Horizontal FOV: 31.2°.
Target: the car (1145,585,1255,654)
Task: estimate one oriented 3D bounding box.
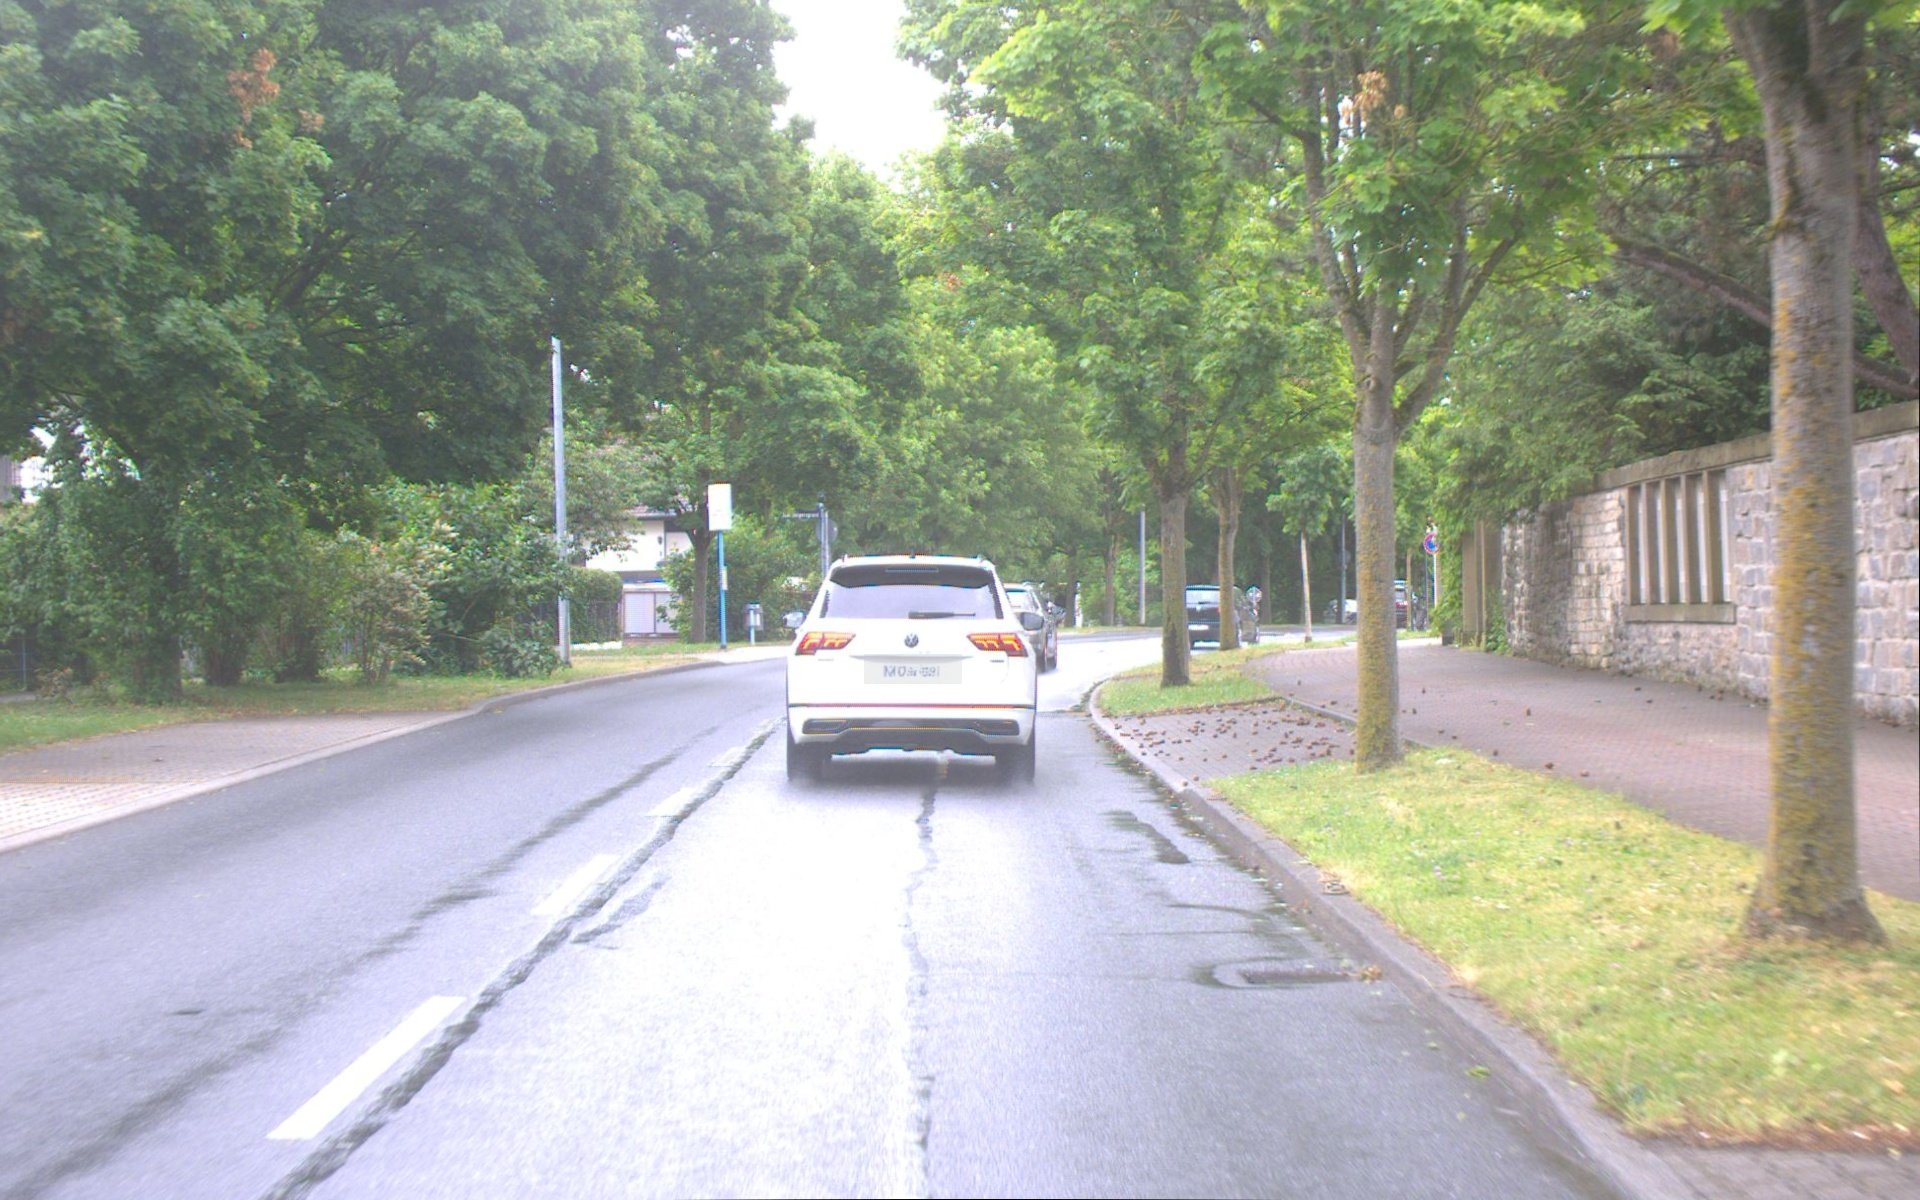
[{"bbox_3d":[5.589,0.442,79.668,1.842,1.482,3.997,2,0,14],"label":"car"}]

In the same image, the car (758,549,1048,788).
[{"bbox_3d":[-0.454,0.454,26.143,1.996,1.626,4.000,1,1,-1],"label":"car"}]

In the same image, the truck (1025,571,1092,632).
[{"bbox_3d":[4.400,0.090,152.261,2.285,2.588,5.872,-1,-1,8],"label":"truck"}]

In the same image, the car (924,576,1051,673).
[{"bbox_3d":[0.494,0.409,56.798,1.841,1.482,3.999,-2,-1,4],"label":"car"}]

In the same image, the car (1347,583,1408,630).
[{"bbox_3d":[13.849,0.231,113.979,1.841,1.482,3.998,-2,-1,9],"label":"car"}]
